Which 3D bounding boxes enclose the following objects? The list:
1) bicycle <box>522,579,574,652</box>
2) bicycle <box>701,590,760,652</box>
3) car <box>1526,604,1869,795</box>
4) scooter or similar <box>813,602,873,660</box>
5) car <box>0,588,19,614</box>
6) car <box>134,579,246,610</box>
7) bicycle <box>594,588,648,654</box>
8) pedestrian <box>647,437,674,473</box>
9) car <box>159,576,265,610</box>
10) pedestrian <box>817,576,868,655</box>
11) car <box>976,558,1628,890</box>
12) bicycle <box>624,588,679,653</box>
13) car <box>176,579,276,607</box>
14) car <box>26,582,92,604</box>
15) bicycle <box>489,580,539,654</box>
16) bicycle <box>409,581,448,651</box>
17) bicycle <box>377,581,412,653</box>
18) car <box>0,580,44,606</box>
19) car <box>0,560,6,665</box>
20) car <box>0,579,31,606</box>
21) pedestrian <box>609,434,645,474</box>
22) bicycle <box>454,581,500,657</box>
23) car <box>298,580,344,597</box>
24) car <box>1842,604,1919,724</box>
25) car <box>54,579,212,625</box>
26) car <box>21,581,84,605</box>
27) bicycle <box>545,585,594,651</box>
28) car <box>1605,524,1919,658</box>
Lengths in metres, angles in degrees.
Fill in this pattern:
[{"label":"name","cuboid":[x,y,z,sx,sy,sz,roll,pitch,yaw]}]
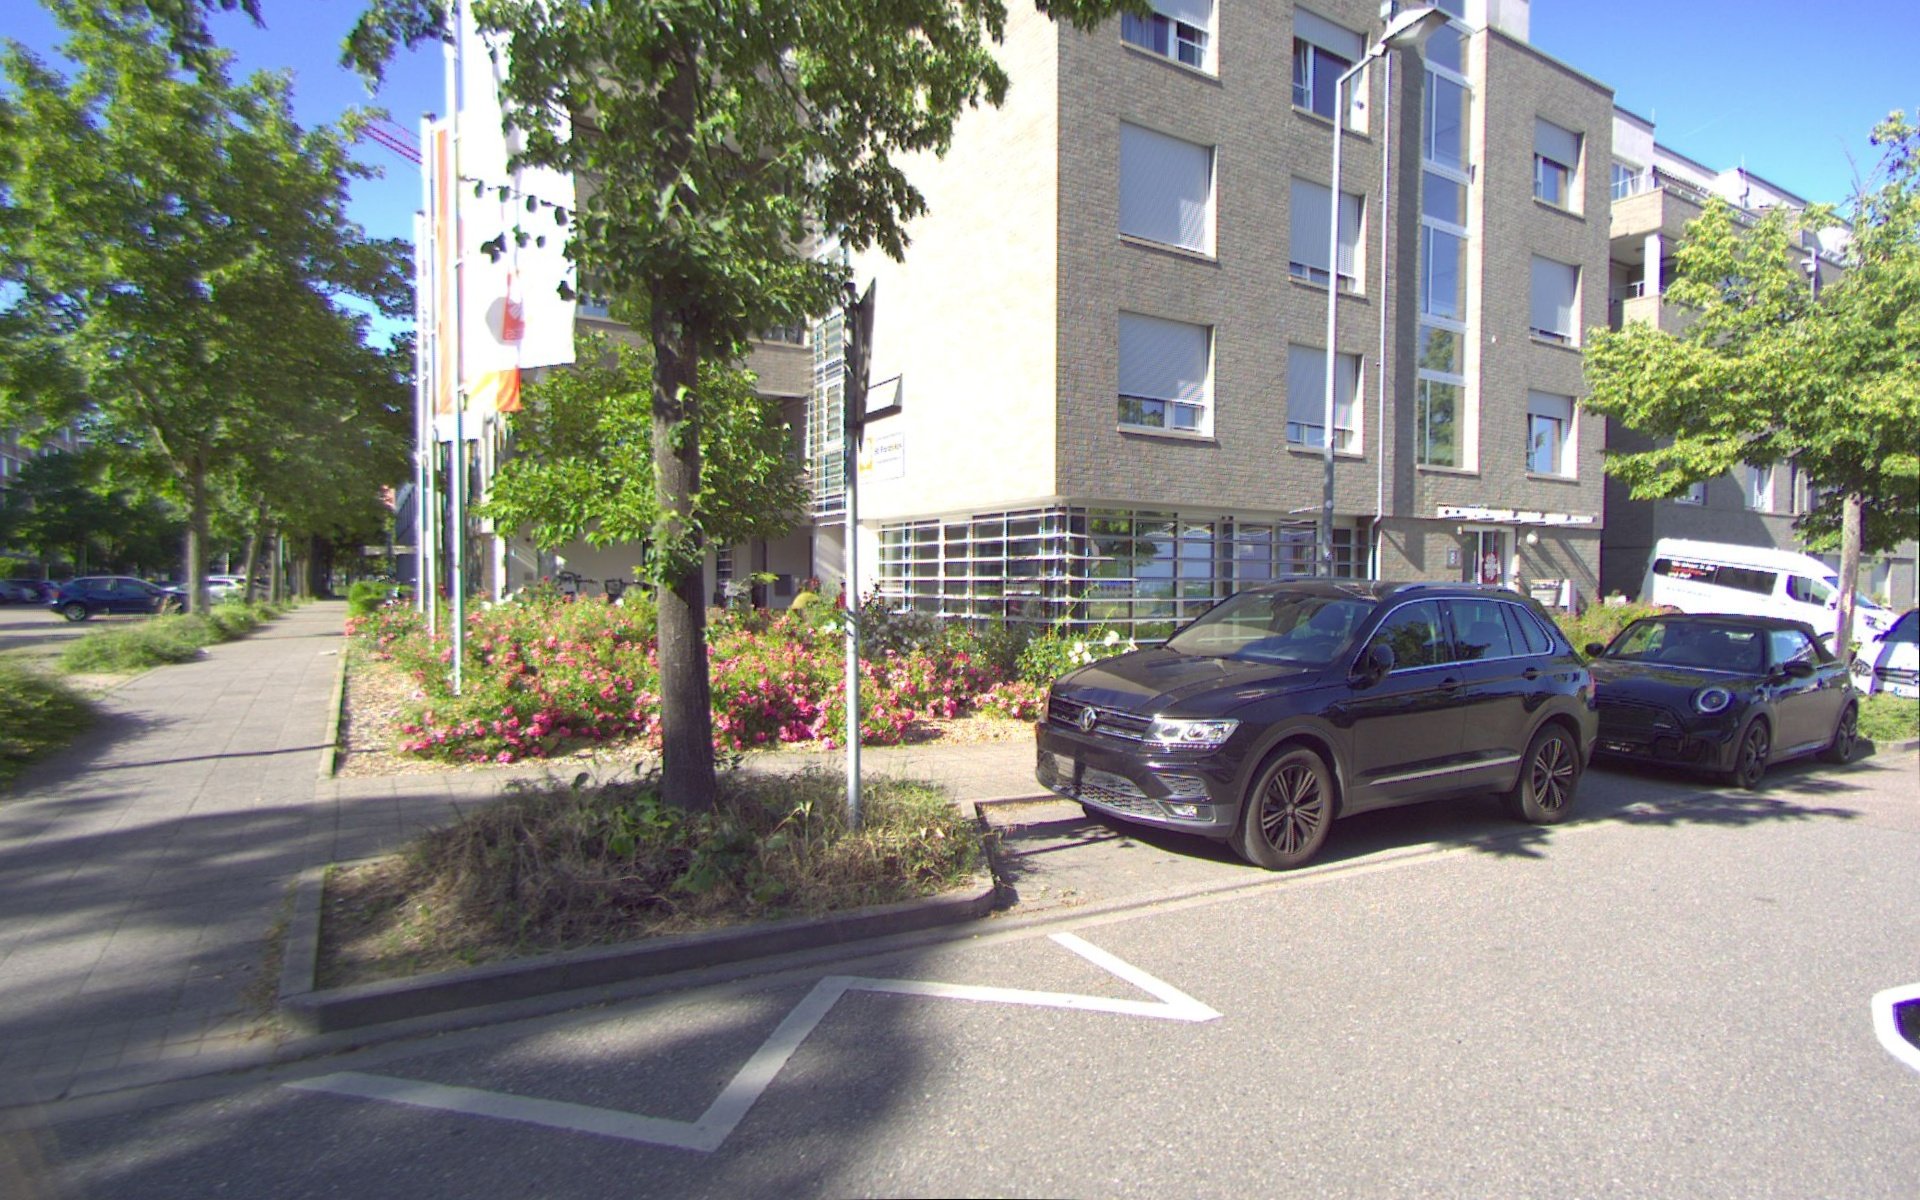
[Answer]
[{"label":"bicycle","cuboid":[-6.481,0.210,15.750,0.433,1.062,2.175,-1,2,-30]},{"label":"bicycle","cuboid":[-4.301,0.355,18.724,0.433,1.062,2.175,-1,2,-30]},{"label":"car","cuboid":[7.277,0.815,9.816,3.752,1.524,1.568,0,1,-35]},{"label":"scooter or similar","cuboid":[-2.096,0.542,17.970,0.796,0.967,0.861,-1,2,-31]},{"label":"car","cuboid":[-55.972,0.032,56.837,3.640,1.440,1.711,1,1,-29]},{"label":"car","cuboid":[-38.240,-0.287,50.009,4.225,1.500,1.784,-1,1,-32]},{"label":"bicycle","cuboid":[-5.968,0.331,17.613,0.433,1.062,2.175,-1,2,-30]},{"label":"pedestrian","cuboid":[-6.557,-3.169,21.986,0.413,0.695,0.422,-2,2,-40]},{"label":"car","cuboid":[-39.286,-0.410,52.877,4.190,1.624,1.936,-2,3,-31]},{"label":"pedestrian","cuboid":[-2.103,0.263,17.971,0.662,1.379,0.739,0,1,-30]},{"label":"car","cuboid":[2.450,0.640,6.979,4.287,1.641,1.878,1,3,-30]},{"label":"bicycle","cuboid":[-5.514,0.331,17.891,0.433,1.062,2.175,-1,2,-30]},{"label":"car","cuboid":[-41.779,-0.431,57.278,4.478,1.471,1.922,-2,2,-36]},{"label":"car","cuboid":[-63.312,-0.497,70.627,3.166,1.499,1.577,1,1,-28]},{"label":"bicycle","cuboid":[-6.907,0.229,15.508,0.433,1.062,2.175,-1,2,-30]},{"label":"bicycle","cuboid":[-8.609,0.225,16.239,0.433,1.062,2.175,-1,2,-30]},{"label":"bicycle","cuboid":[-9.013,0.234,15.982,0.433,1.062,2.175,-1,2,-30]},{"label":"car","cuboid":[-59.425,-0.456,62.350,3.545,1.527,1.709,1,1,-33]},{"label":"car","cuboid":[-15.544,0.238,13.090,4.157,1.540,1.757,-1,2,-31]},{"label":"car","cuboid":[-57.844,-0.438,59.078,4.386,1.574,1.843,0,1,-33]},{"label":"pedestrian","cuboid":[-7.401,-3.236,22.342,0.677,0.809,0.359,-2,2,-39]},{"label":"bicycle","cuboid":[-7.351,0.250,15.247,0.433,1.062,2.175,-1,2,-30]},{"label":"car","cuboid":[-58.940,-1.077,92.693,3.593,1.528,1.603,-1,2,-33]},{"label":"car","cuboid":[14.492,0.863,14.539,4.244,1.553,1.648,0,1,-35]},{"label":"car","cuboid":[-28.061,0.024,34.254,3.959,1.430,1.799,-1,2,-35]},{"label":"car","cuboid":[-62.304,-0.490,68.983,2.907,1.599,1.455,1,1,-29]},{"label":"bicycle","cuboid":[-6.799,0.280,17.418,0.433,1.062,2.175,-1,2,-30]},{"label":"car","cuboid":[19.264,-0.362,24.485,1.902,2.415,5.411,0,9,-34]}]
